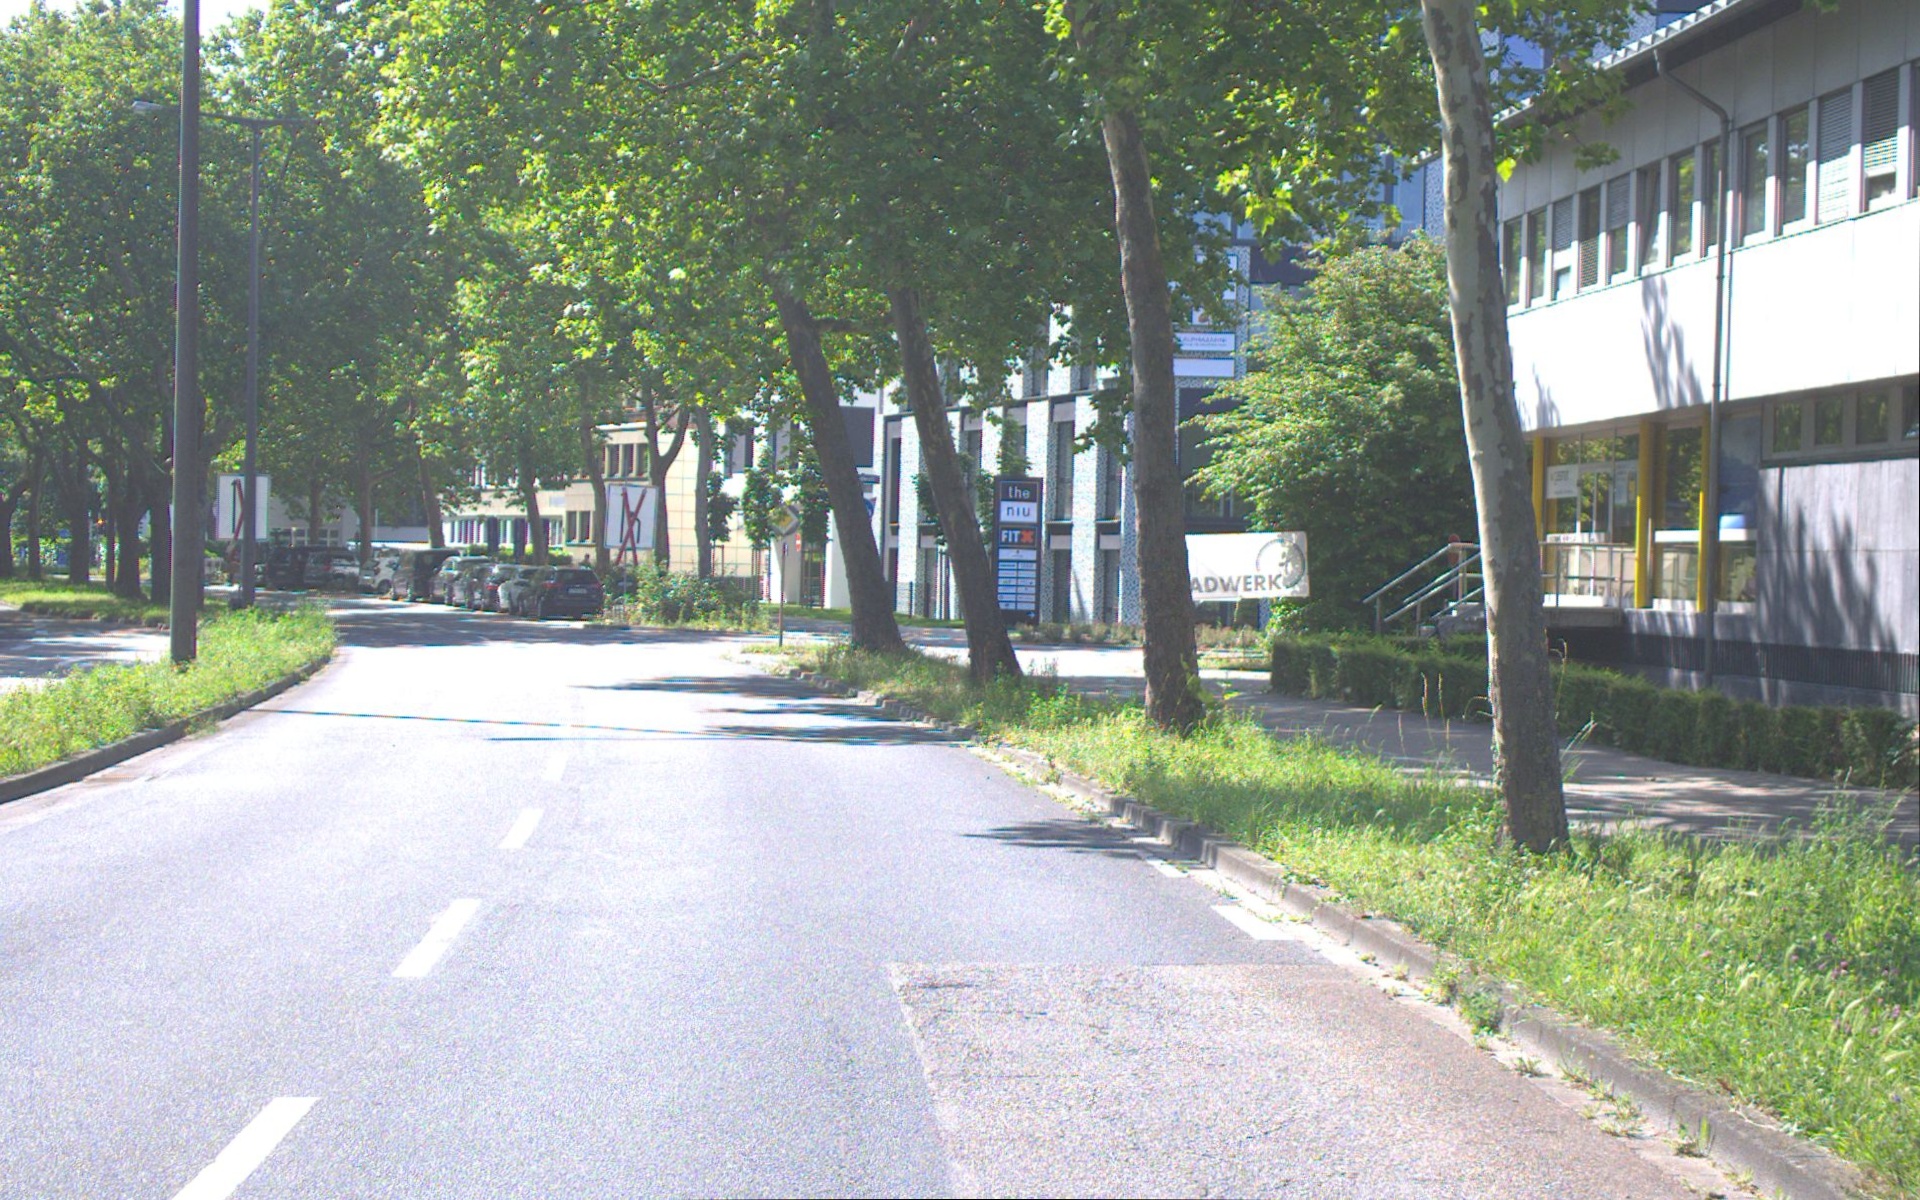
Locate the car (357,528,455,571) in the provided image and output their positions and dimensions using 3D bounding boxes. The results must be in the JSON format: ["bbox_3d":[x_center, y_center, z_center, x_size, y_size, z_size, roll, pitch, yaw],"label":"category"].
[{"bbox_3d":[-22.225,-2.004,137.870,3.551,1.634,1.659,1,0,-22],"label":"car"}]

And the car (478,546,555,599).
[{"bbox_3d":[-13.082,-0.832,101.252,1.706,1.482,4.102,1,1,-15],"label":"car"}]

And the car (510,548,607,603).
[{"bbox_3d":[-11.241,-0.706,96.000,1.706,1.482,4.720,0,1,-19],"label":"car"}]

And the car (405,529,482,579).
[{"bbox_3d":[-17.734,-1.584,117.946,1.706,1.664,4.535,1,1,-20],"label":"car"}]

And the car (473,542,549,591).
[{"bbox_3d":[-13.926,-1.040,106.464,1.706,1.450,4.657,1,1,-15],"label":"car"}]
